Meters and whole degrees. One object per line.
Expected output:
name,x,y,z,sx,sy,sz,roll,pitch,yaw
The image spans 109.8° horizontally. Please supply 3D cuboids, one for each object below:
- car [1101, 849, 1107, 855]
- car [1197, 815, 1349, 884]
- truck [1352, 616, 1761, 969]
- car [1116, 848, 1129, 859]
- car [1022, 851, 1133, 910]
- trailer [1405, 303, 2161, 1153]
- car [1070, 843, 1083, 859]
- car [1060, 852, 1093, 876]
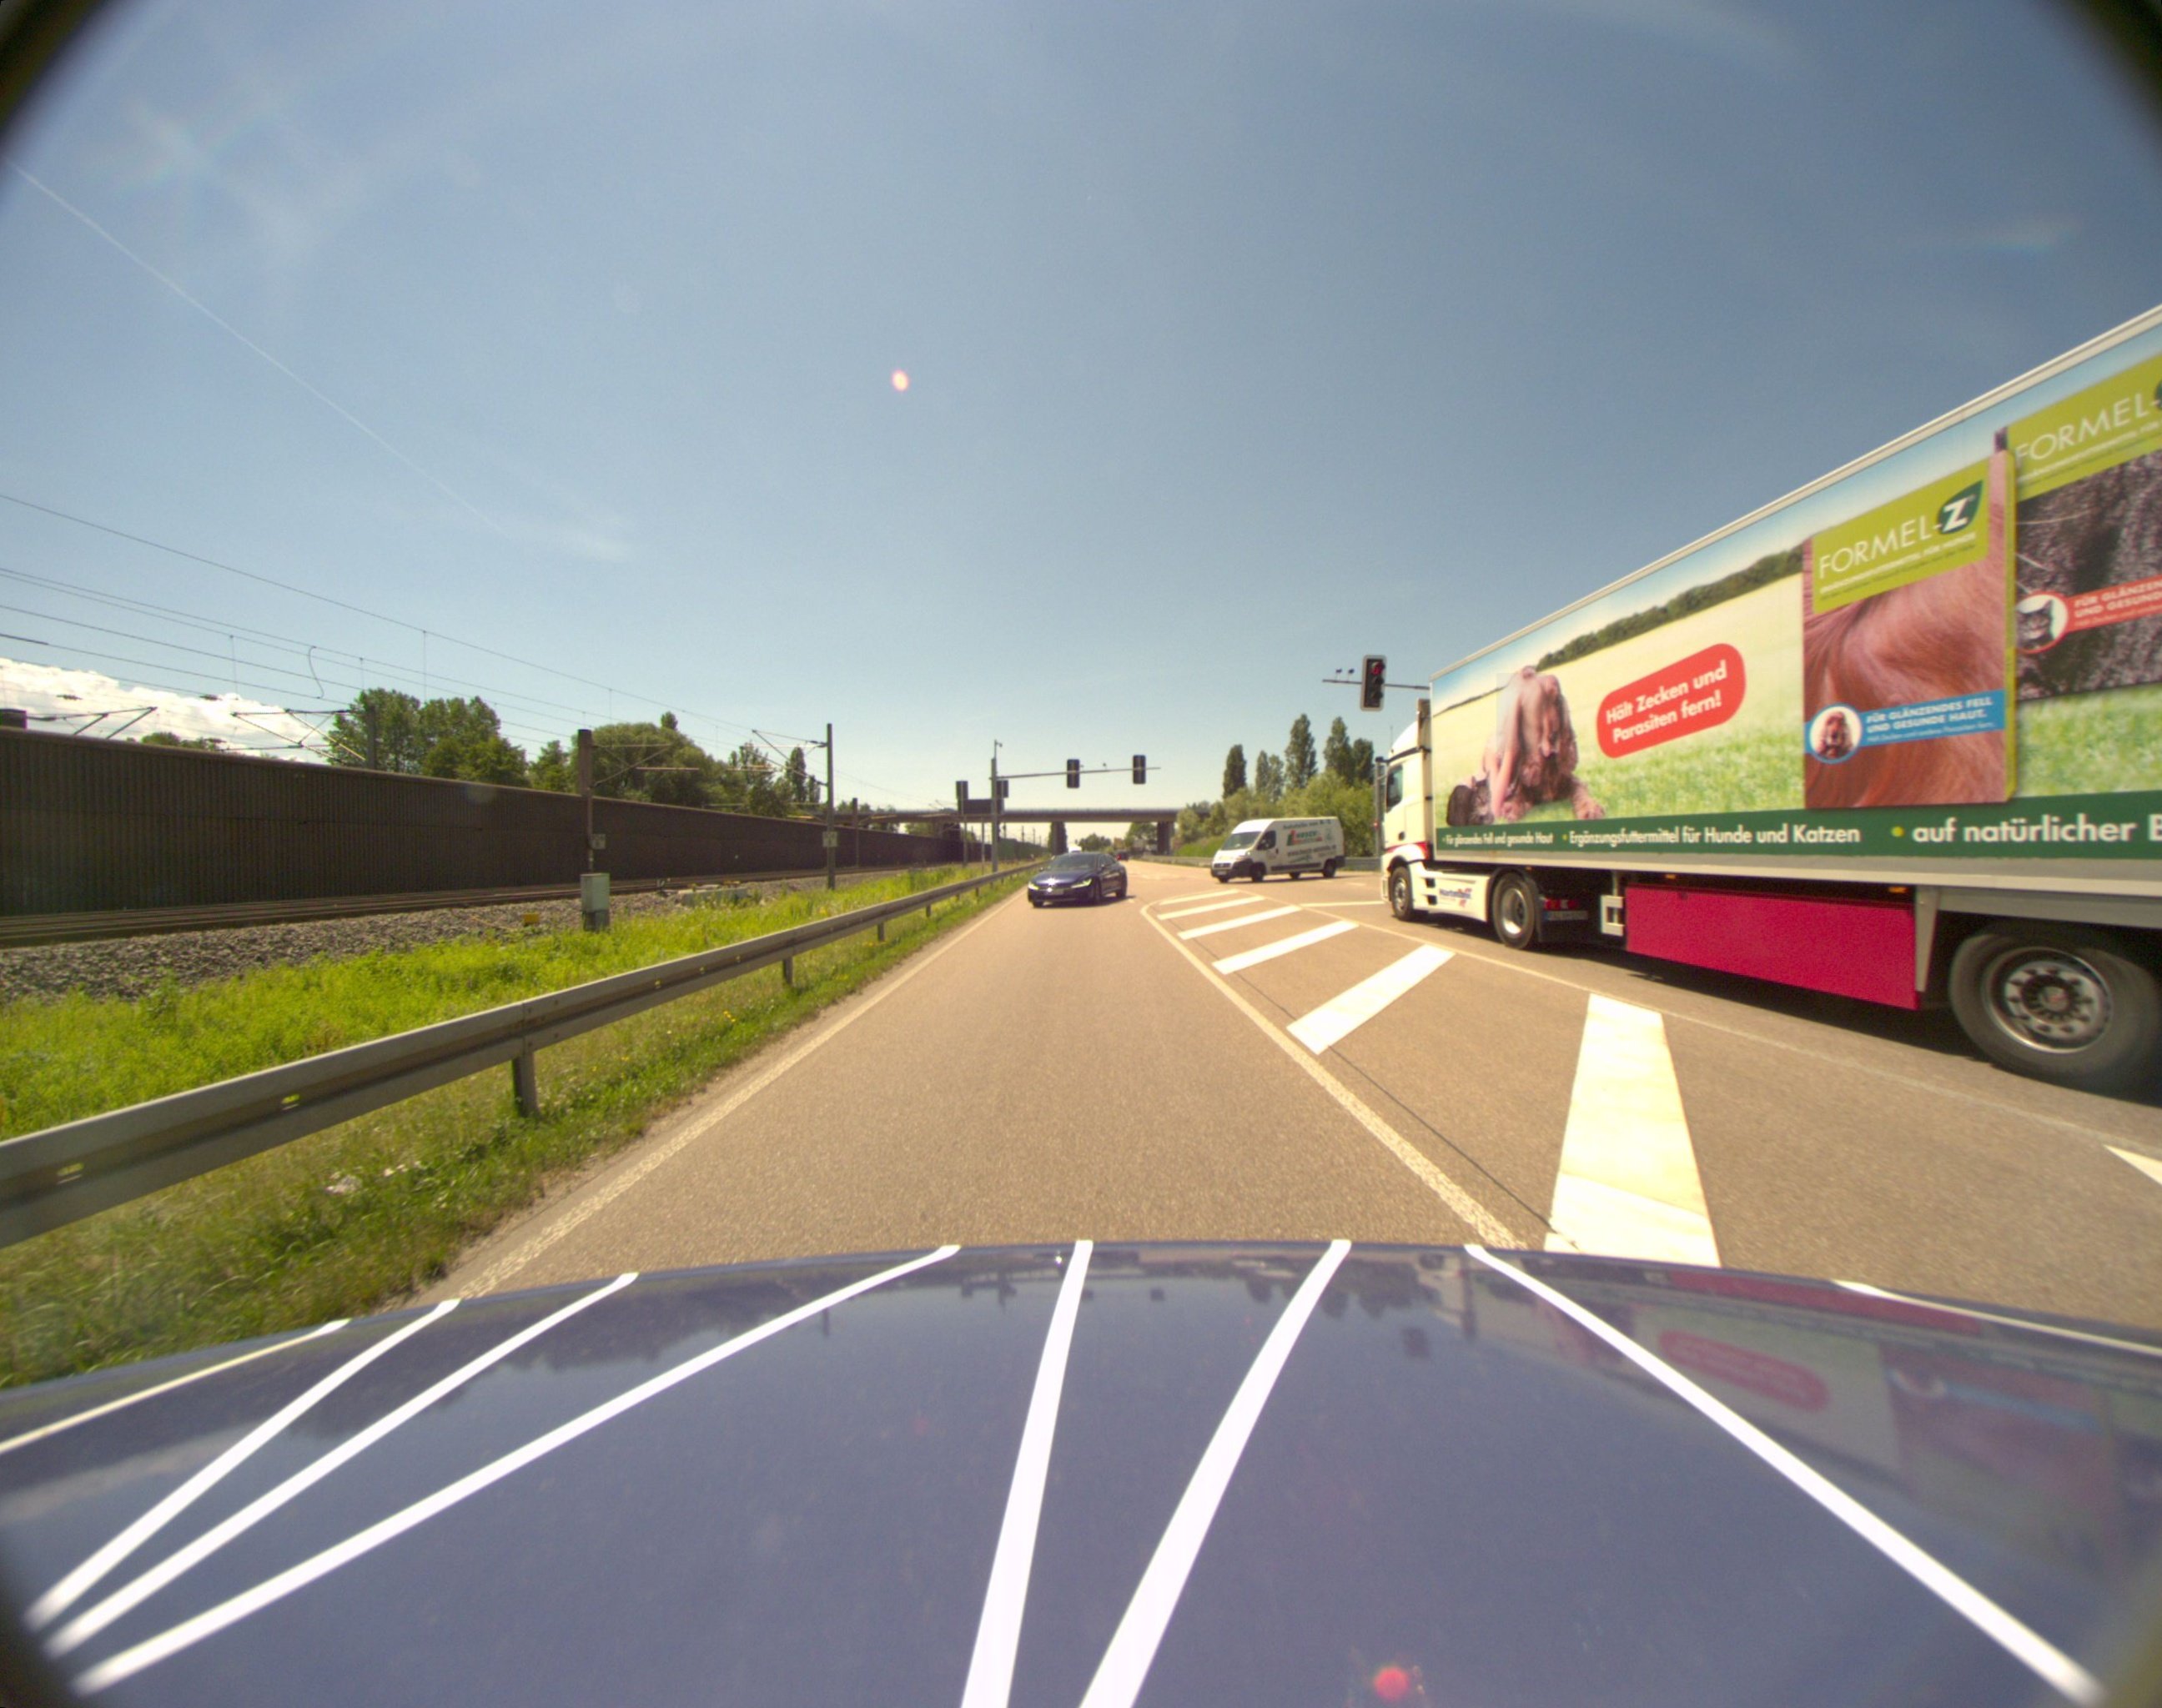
car,6.156,-0.563,205.124,1.589,1.553,3.687,-2,0,1
car,7.785,-0.206,30.611,5.991,2.480,2.225,-3,0,-29
truck,6.609,-0.746,11.794,2.696,4.022,5.825,-2,1,1
car,6.211,-0.133,114.488,1.642,1.587,3.560,-1,0,-3
car,0.048,0.690,21.763,1.845,1.415,4.567,-2,1,17
trailer,6.515,-0.645,5.256,2.696,4.022,14.123,-2,1,1
car,-0.683,-0.489,117.325,1.911,2.427,4.648,-2,0,1
car,-0.228,0.586,47.522,1.911,1.356,4.648,-2,0,1
